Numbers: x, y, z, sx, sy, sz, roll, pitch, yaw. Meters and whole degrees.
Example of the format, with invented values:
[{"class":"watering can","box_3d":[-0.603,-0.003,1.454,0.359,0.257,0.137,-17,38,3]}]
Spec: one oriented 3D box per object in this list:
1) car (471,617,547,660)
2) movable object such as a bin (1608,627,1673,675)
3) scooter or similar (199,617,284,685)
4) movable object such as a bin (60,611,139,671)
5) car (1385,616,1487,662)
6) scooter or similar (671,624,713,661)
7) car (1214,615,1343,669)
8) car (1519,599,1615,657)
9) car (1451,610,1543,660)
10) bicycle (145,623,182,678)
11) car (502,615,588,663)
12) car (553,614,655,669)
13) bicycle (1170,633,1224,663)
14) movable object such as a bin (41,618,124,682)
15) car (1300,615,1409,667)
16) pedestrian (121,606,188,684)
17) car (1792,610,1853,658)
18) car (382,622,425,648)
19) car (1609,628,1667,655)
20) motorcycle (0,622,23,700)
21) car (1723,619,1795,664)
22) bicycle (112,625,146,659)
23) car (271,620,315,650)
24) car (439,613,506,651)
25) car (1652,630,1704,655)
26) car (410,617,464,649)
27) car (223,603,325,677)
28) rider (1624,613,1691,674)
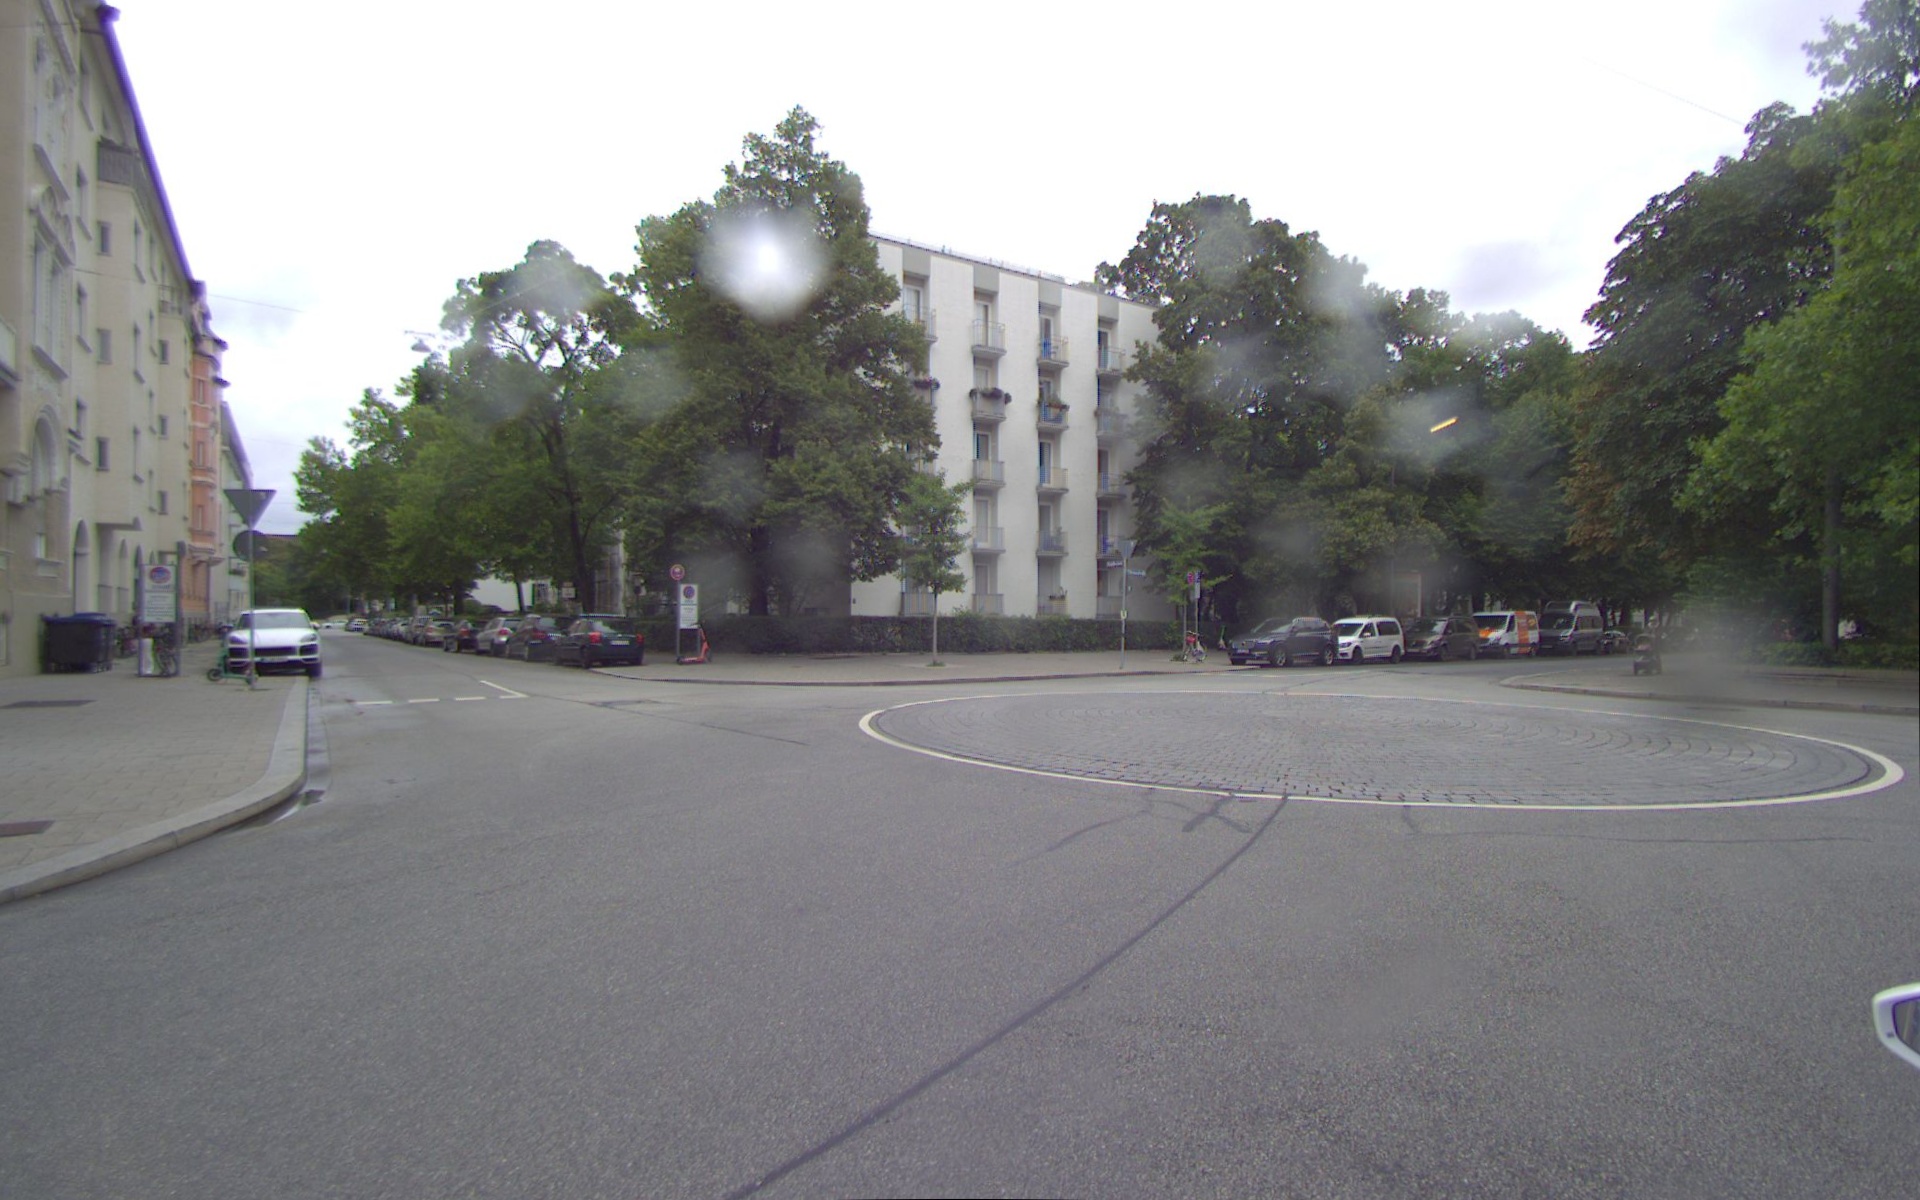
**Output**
[{"class":"car","box_3d":[-17.095,1.415,37.973,1.760,1.538,3.992,1,-1,-37]},{"class":"movable object such as a bin","box_3d":[19.034,1.429,28.116,1.072,1.283,1.075,0,-3,-25]},{"class":"scooter or similar","box_3d":[-15.312,1.081,21.418,1.328,1.413,0.709,0,-1,7]},{"class":"movable object such as a bin","box_3d":[-21.740,1.020,25.422,1.331,1.477,1.284,1,-1,-34]},{"class":"car","box_3d":[20.727,1.683,43.680,4.942,1.883,2.049,2,-1,-38]},{"class":"scooter or similar","box_3d":[-7.779,1.222,29.154,0.374,1.039,1.135,-1,-1,43]},{"class":"car","box_3d":[11.465,1.478,36.050,4.863,1.790,2.049,2,-1,-38]},{"class":"car","box_3d":[33.026,1.506,54.566,6.520,2.960,2.317,1,-1,-38]},{"class":"car","box_3d":[25.997,1.680,48.555,5.149,2.281,2.095,1,-1,-38]},{"class":"bicycle","box_3d":[-17.982,1.116,22.698,0.545,1.165,1.827,1,-1,-35]},{"class":"car","box_3d":[-14.212,1.304,34.289,1.760,1.538,3.992,1,-1,-37]},{"class":"car","box_3d":[-10.794,1.212,30.298,1.760,1.538,3.992,1,-1,-37]},{"class":"bicycle","box_3d":[8.703,1.741,36.934,1.953,1.065,0.904,2,-2,-37]},{"class":"movable object such as a bin","box_3d":[-21.082,1.175,24.175,1.331,1.477,1.152,1,-1,-34]},{"class":"car","box_3d":[15.586,1.573,39.571,4.826,1.920,1.910,2,-1,-39]},{"class":"pedestrian","box_3d":[-19.507,1.068,24.356,1.120,1.828,1.260,1,-1,-33]},{"class":"car","box_3d":[48.187,1.883,56.073,5.211,2.592,2.022,1,-2,-43]},{"class":"car","box_3d":[-35.129,2.204,63.364,1.760,1.538,3.992,1,-1,-37]},{"class":"car","box_3d":[41.455,2.519,61.414,4.039,1.558,1.880,2,-2,-39]},{"class":"motorcycle","box_3d":[-15.301,0.931,15.378,0.996,1.195,2.539,1,-1,-34]},{"class":"car","box_3d":[36.426,1.834,45.741,4.416,1.948,2.021,1,-2,-44]},{"class":"bicycle","box_3d":[-26.721,1.329,32.315,0.618,1.060,2.194,1,-1,-34]},{"class":"car","box_3d":[-37.757,1.957,56.831,1.980,1.617,4.172,1,-1,-34]},{"class":"car","box_3d":[-20.543,1.330,42.254,1.760,1.538,3.992,1,-1,-37]},{"class":"car","box_3d":[47.888,2.831,66.979,4.039,1.592,1.880,2,-2,-39]},{"class":"car","box_3d":[-26.740,1.669,51.302,1.760,1.538,3.992,1,-1,-37]},{"class":"car","box_3d":[-17.619,0.975,25.858,1.980,1.714,4.764,1,-1,-34]},{"class":"rider","box_3d":[19.774,1.242,28.481,1.124,1.689,1.079,0,-3,-25]}]
